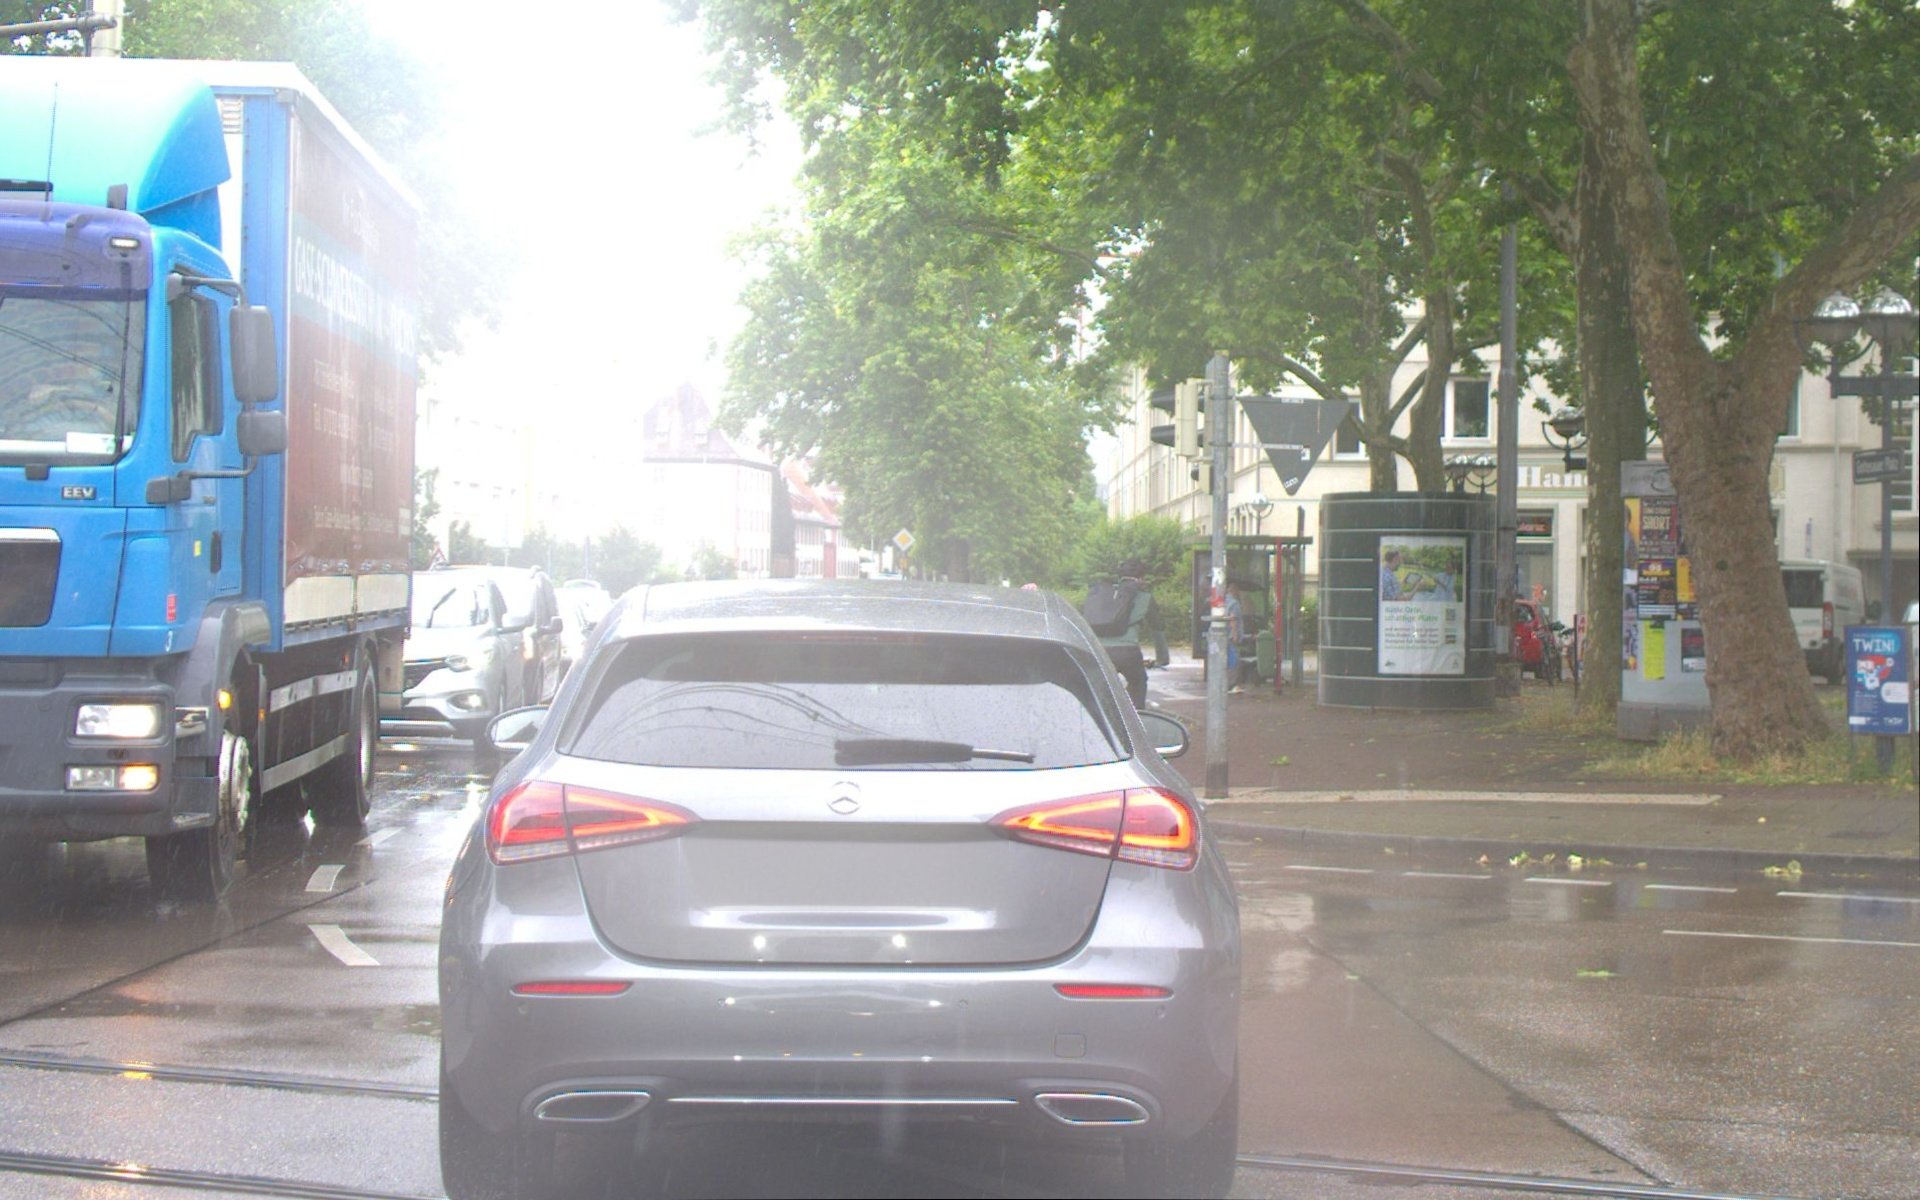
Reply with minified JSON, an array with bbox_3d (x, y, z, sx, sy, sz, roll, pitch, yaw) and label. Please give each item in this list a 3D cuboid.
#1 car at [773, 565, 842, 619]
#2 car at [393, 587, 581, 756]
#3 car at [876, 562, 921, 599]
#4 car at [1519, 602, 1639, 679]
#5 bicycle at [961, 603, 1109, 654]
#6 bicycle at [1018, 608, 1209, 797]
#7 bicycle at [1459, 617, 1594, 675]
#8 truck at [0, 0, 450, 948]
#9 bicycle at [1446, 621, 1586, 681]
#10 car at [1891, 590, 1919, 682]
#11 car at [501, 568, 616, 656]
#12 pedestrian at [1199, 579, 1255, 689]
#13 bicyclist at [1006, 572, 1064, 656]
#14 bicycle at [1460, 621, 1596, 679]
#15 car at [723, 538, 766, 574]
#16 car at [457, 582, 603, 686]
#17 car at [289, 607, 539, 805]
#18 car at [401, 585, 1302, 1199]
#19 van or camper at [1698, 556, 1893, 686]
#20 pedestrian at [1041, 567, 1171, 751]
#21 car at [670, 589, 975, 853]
[{"bbox_3d":[-4.644,-0.236,104.278,1.993,1.568,4.000,1,0,-4],"label":"car"},{"bbox_3d":[-5.511,0.797,40.464,1.806,1.855,4.110,1,0,-3],"label":"car"},{"bbox_3d":[-3.072,-0.966,172.636,2.046,1.830,4.792,1,0,1],"label":"car"},{"bbox_3d":[11.414,0.757,63.272,1.584,1.332,3.258,0,-2,21],"label":"car"},{"bbox_3d":[1.700,0.655,77.836,3.205,1.108,1.054,0,-2,-21],"label":"bicycle"},{"bbox_3d":[1.234,0.763,26.962,0.750,1.372,2.704,0,0,19],"label":"bicycle"},{"bbox_3d":[9.914,0.804,60.206,2.249,0.965,0.584,1,0,20],"label":"bicycle"},{"bbox_3d":[-4.603,-0.707,18.346,2.845,4.011,10.317,0,0,-4],"label":"truck"},{"bbox_3d":[9.496,0.871,58.701,2.284,0.979,0.545,1,0,20],"label":"bicycle"},{"bbox_3d":[17.458,0.655,60.952,1.681,1.570,3.732,1,0,18],"label":"car"},{"bbox_3d":[-7.167,0.193,61.608,1.845,1.505,4.056,1,0,-4],"label":"car"},{"bbox_3d":[4.088,0.522,52.672,0.716,1.663,0.665,1,0,-7],"label":"pedestrian"},{"bbox_3d":[1.694,0.330,77.797,0.938,1.862,1.143,0,-2,-21],"label":"bicyclist"},{"bbox_3d":[9.795,0.856,59.319,2.254,0.965,0.534,1,0,20],"label":"bicycle"},{"bbox_3d":[-11.264,-2.280,179.777,1.889,1.830,4.000,1,0,1],"label":"car"},{"bbox_3d":[-6.223,0.487,50.124,1.742,1.385,4.363,2,0,-3],"label":"car"},{"bbox_3d":[-4.788,0.889,30.600,1.742,1.598,4.000,1,0,-3],"label":"car"},{"bbox_3d":[-0.311,0.686,8.740,1.791,1.368,3.507,2,0,-3],"label":"car"},{"bbox_3d":[15.142,0.358,62.076,2.399,2.224,5.422,1,0,25],"label":"van or camper"},{"bbox_3d":[1.141,0.442,26.688,0.745,1.393,1.046,0,0,19],"label":"pedestrian"},{"bbox_3d":[-0.832,0.632,20.174,1.607,1.368,4.000,0,1,-3],"label":"car"}]
